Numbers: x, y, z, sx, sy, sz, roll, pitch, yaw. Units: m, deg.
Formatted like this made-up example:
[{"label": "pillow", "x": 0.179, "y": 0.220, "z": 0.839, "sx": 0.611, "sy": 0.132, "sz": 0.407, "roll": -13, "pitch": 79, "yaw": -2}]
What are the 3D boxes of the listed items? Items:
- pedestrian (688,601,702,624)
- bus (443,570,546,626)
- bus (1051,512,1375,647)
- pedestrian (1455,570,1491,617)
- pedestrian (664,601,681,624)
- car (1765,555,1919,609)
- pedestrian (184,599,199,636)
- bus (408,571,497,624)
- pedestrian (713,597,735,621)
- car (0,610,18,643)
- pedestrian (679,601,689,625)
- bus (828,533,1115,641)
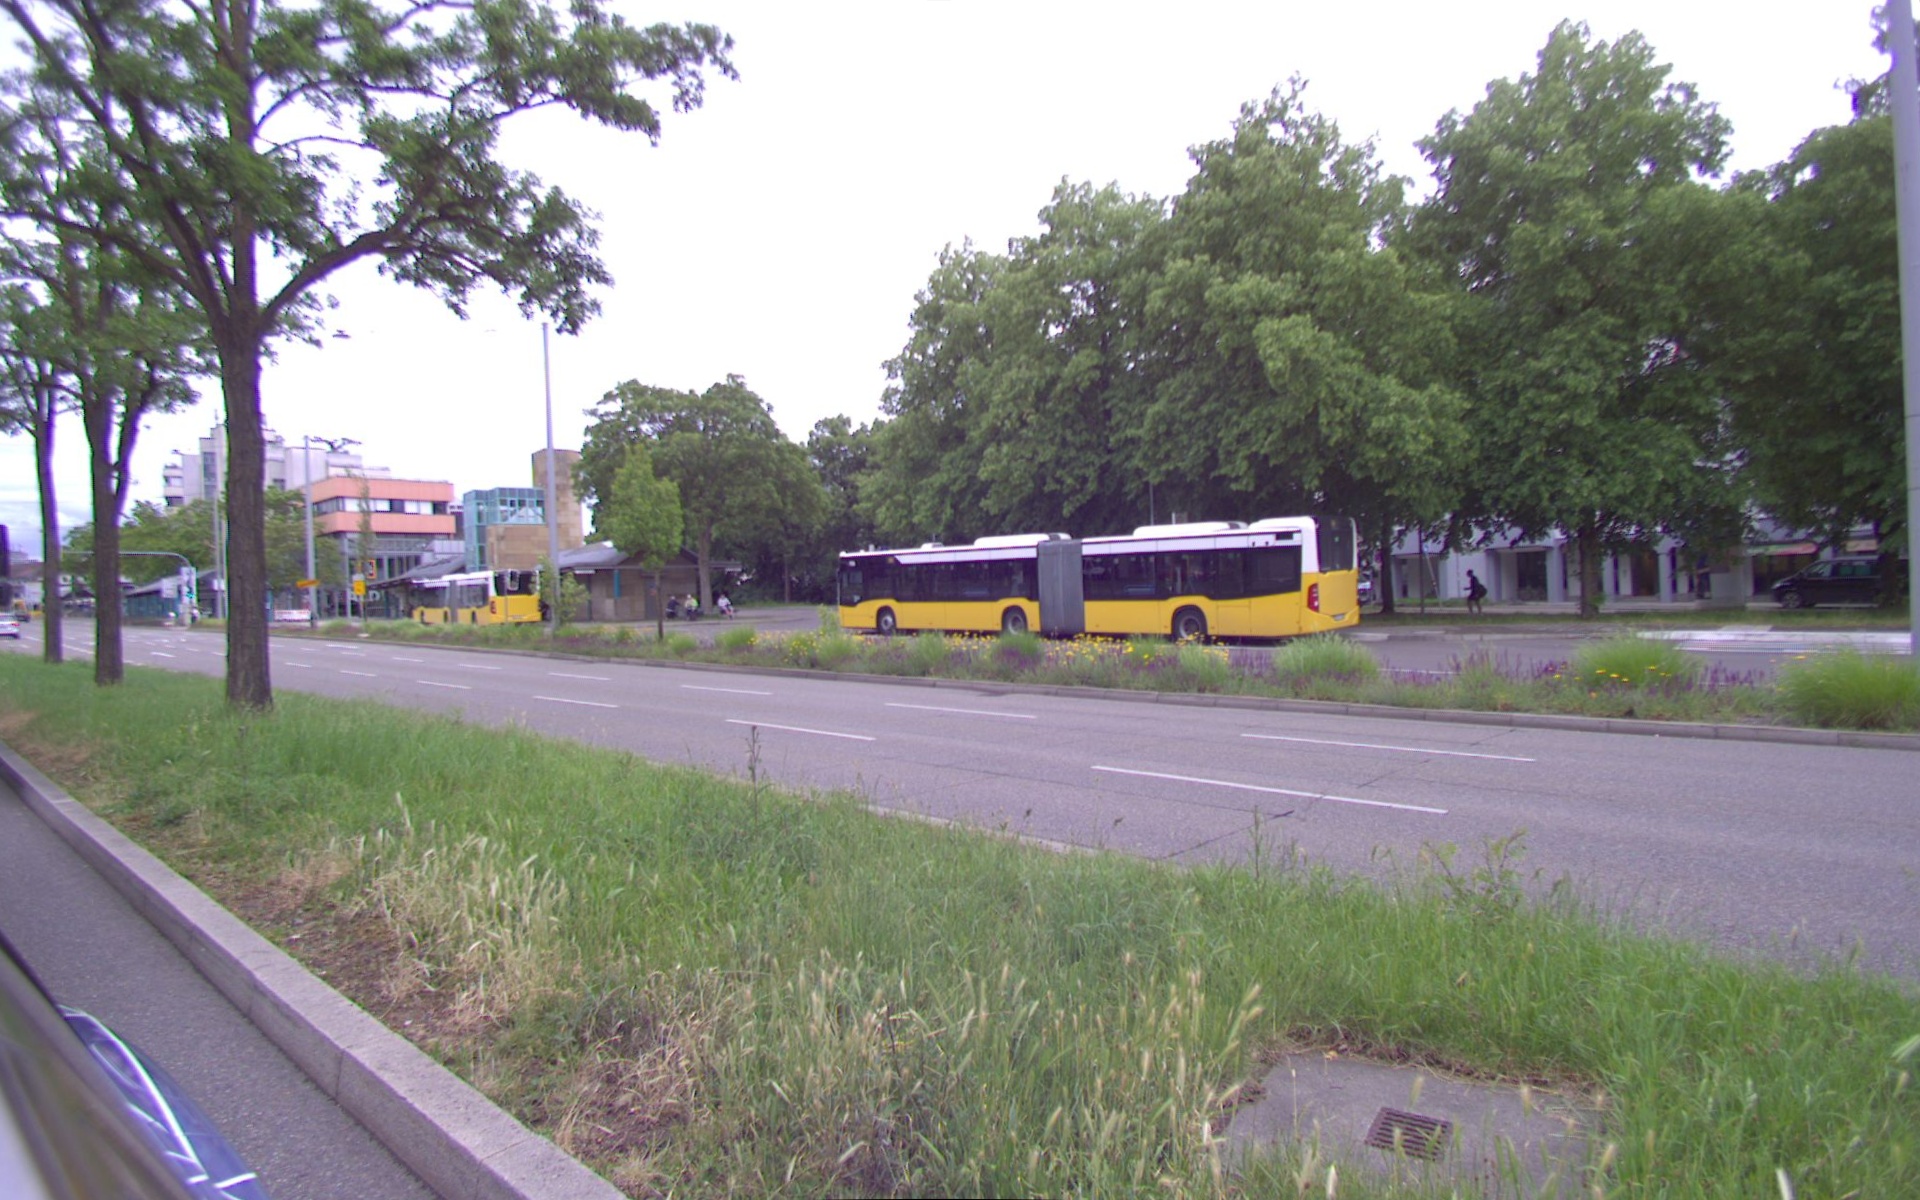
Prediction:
[{"label": "pedestrian", "x": -13.226, "y": 0.624, "z": 50.494, "sx": 0.589, "sy": 1.171, "sz": 0.745, "roll": -1, "pitch": 0, "yaw": -23}, {"label": "bus", "x": -25.533, "y": -0.064, "z": 55.229, "sx": 2.846, "sy": 2.830, "sz": 9.191, "roll": -1, "pitch": 0, "yaw": -39}, {"label": "bus", "x": 6.320, "y": -0.424, "z": 26.487, "sx": 2.849, "sy": 3.025, "sz": 7.889, "roll": -1, "pitch": 0, "yaw": -44}, {"label": "pedestrian", "x": 17.504, "y": -0.225, "z": 34.546, "sx": 0.904, "sy": 1.569, "sz": 0.761, "roll": -2, "pitch": 0, "yaw": 41}, {"label": "pedestrian", "x": -14.809, "y": 0.644, "z": 52.077, "sx": 0.590, "sy": 1.171, "sz": 0.744, "roll": -1, "pitch": 0, "yaw": -36}, {"label": "car", "x": 33.123, "y": -0.635, "z": 37.790, "sx": 1.758, "sy": 1.861, "sz": 4.429, "roll": -1, "pitch": 0, "yaw": -35}, {"label": "pedestrian", "x": -58.567, "y": 1.318, "z": 77.123, "sx": 0.889, "sy": 2.809, "sz": 1.150, "roll": -1, "pitch": 0, "yaw": -36}, {"label": "bus", "x": -31.236, "y": -0.080, "z": 62.025, "sx": 2.846, "sy": 3.025, "sz": 9.191, "roll": -1, "pitch": 0, "yaw": -40}, {"label": "pedestrian", "x": -11.926, "y": 0.470, "z": 51.107, "sx": 0.924, "sy": 1.180, "sz": 0.641, "roll": -1, "pitch": 0, "yaw": 41}, {"label": "car", "x": -59.995, "y": 1.665, "z": 63.012, "sx": 4.000, "sy": 2.029, "sz": 1.703, "roll": -1, "pitch": 0, "yaw": 43}, {"label": "pedestrian", "x": -13.745, "y": 0.631, "z": 50.392, "sx": 0.361, "sy": 1.175, "sz": 0.900, "roll": -1, "pitch": 0, "yaw": -23}, {"label": "bus", "x": -0.015, "y": -0.308, "z": 33.072, "sx": 2.849, "sy": 3.025, "sz": 10.401, "roll": -1, "pitch": 0, "yaw": -44}]
